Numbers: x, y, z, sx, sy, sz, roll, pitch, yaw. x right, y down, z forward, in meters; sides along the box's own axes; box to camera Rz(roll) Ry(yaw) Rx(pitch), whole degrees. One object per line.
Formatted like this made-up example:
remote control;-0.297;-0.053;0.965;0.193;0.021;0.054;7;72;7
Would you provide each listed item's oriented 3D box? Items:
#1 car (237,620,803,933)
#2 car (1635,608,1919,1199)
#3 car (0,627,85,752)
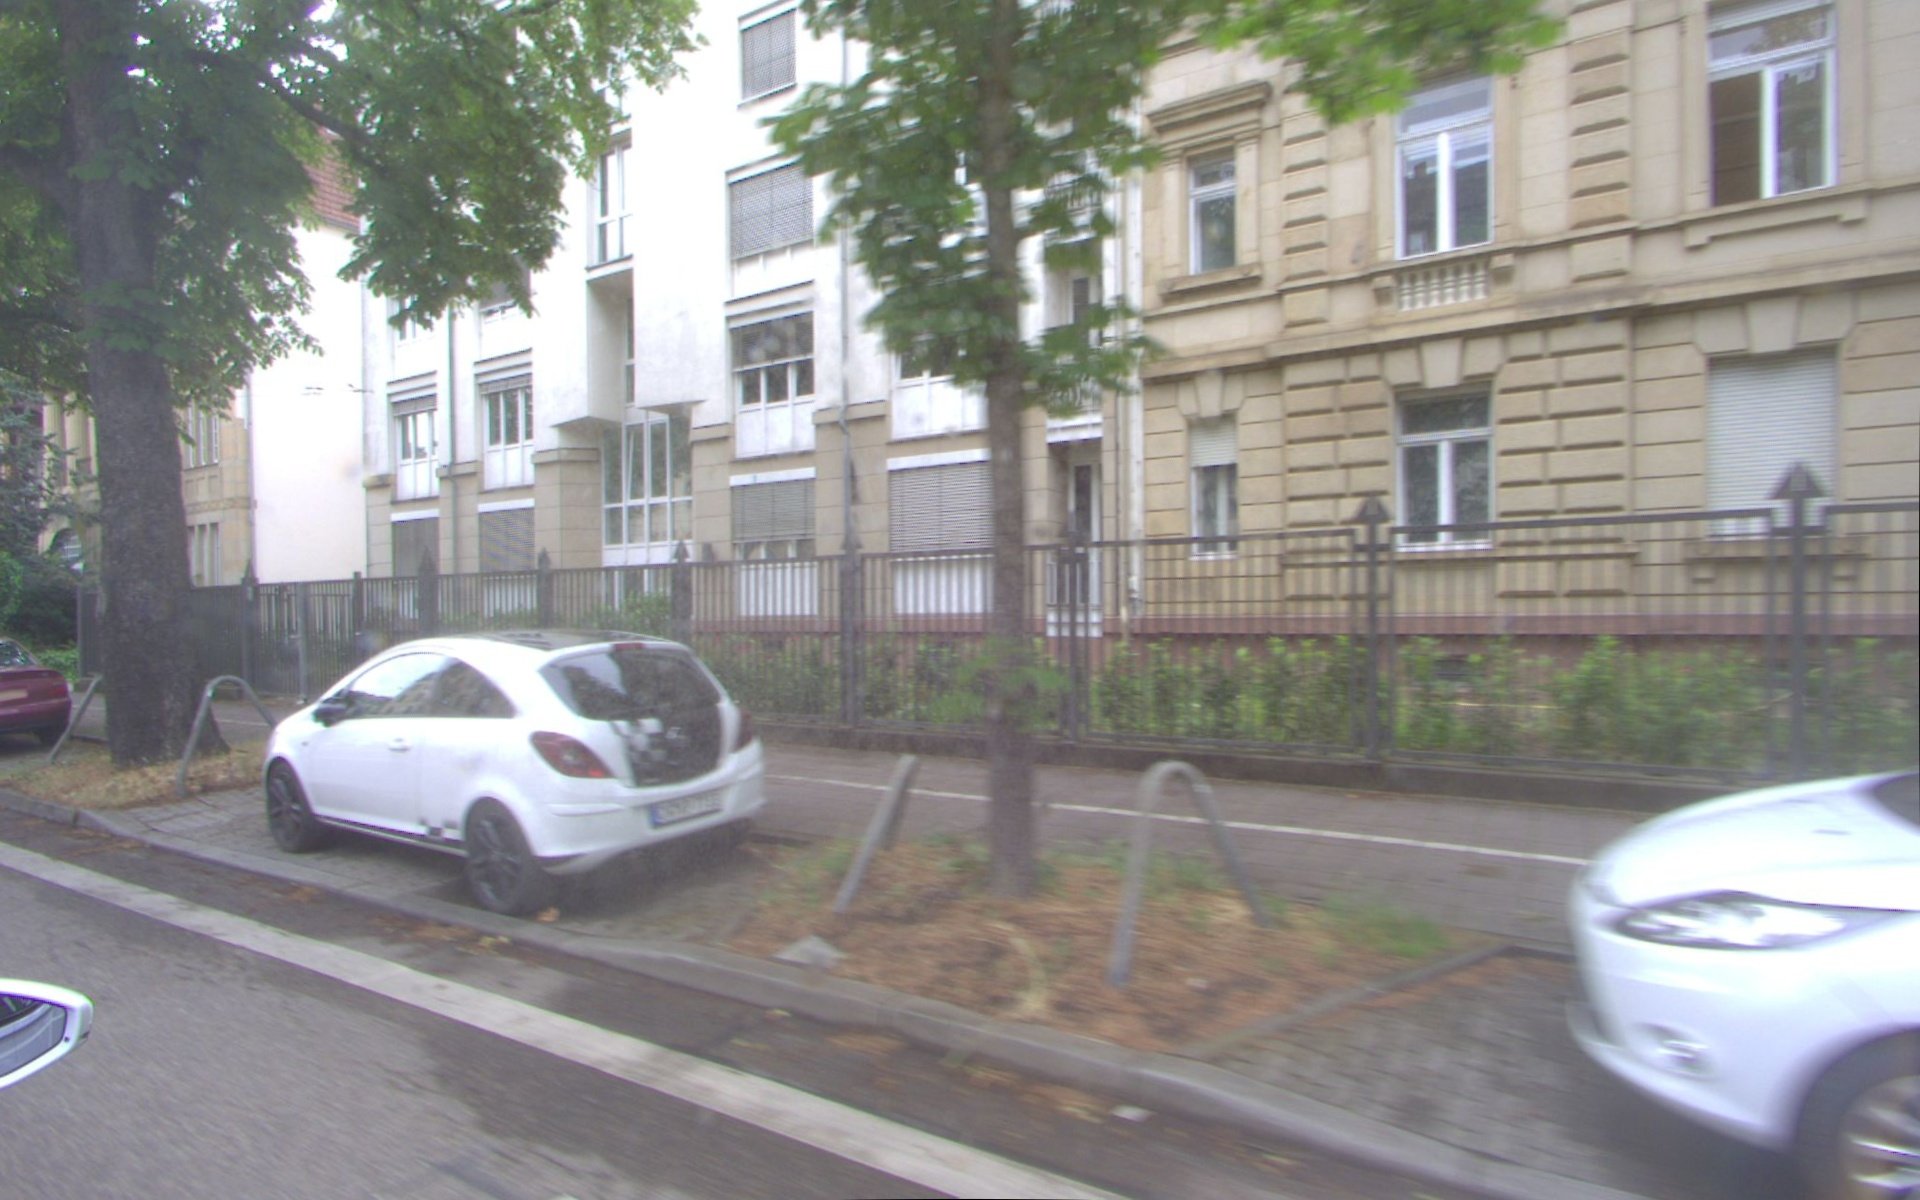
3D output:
car;-2.981;0.901;6.576;3.723;1.455;1.598;-1;2;33
car;3.771;0.767;2.215;3.711;1.455;1.623;-1;2;32
car;-13.091;1.103;12.890;4.167;1.418;1.598;-1;2;32
